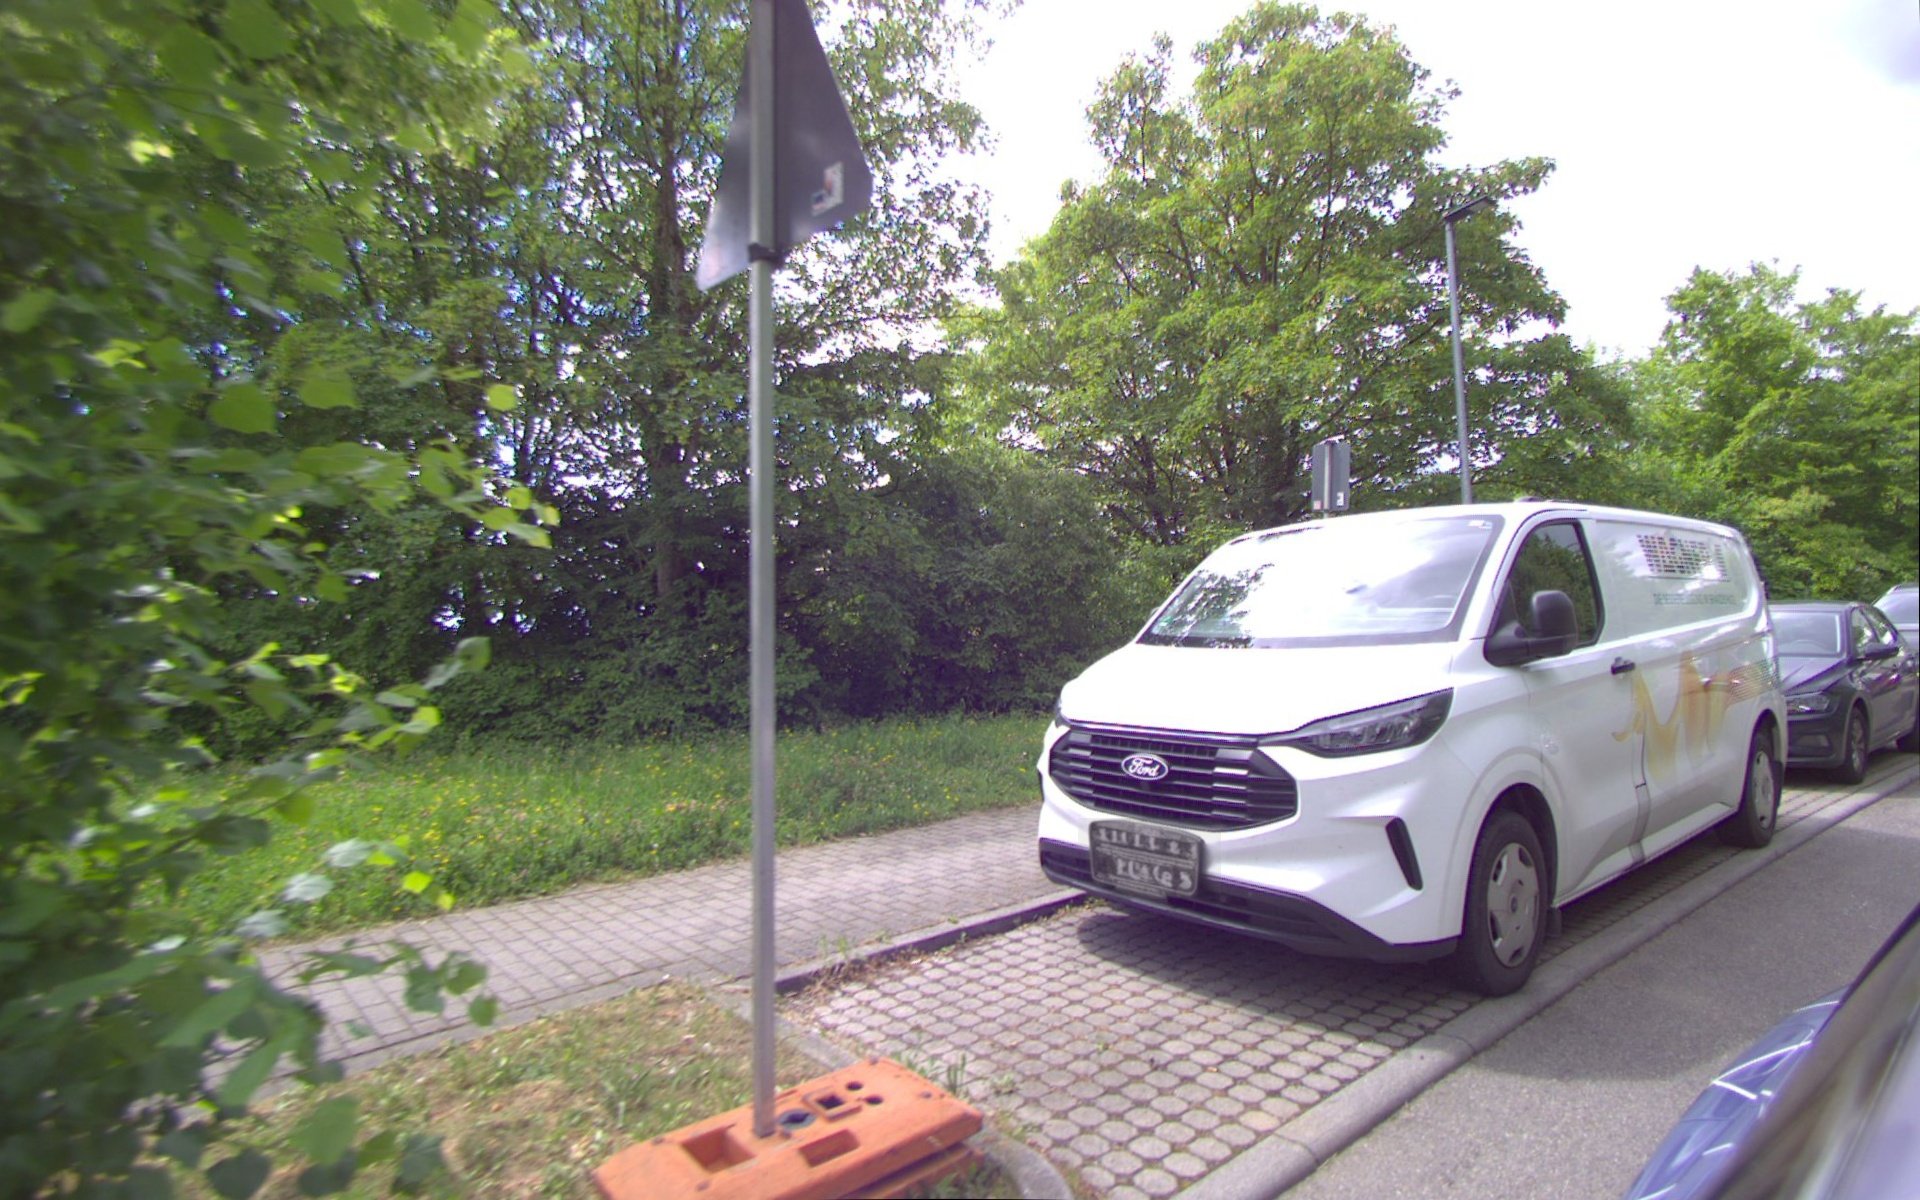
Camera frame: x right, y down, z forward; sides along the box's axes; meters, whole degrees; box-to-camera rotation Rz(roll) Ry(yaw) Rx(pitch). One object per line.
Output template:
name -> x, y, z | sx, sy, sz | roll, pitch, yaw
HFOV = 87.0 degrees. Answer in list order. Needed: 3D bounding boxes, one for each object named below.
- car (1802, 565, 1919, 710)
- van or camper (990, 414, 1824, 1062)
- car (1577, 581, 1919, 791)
car -> 12.583, 0.401, 12.598 | 4.194, 1.647, 2.001 | -1, 0, -32
van or camper -> 2.772, 0.428, 5.483 | 5.172, 1.945, 1.997 | 0, -2, -40
car -> 7.486, 0.631, 9.173 | 3.926, 1.483, 1.802 | -1, -2, -36
